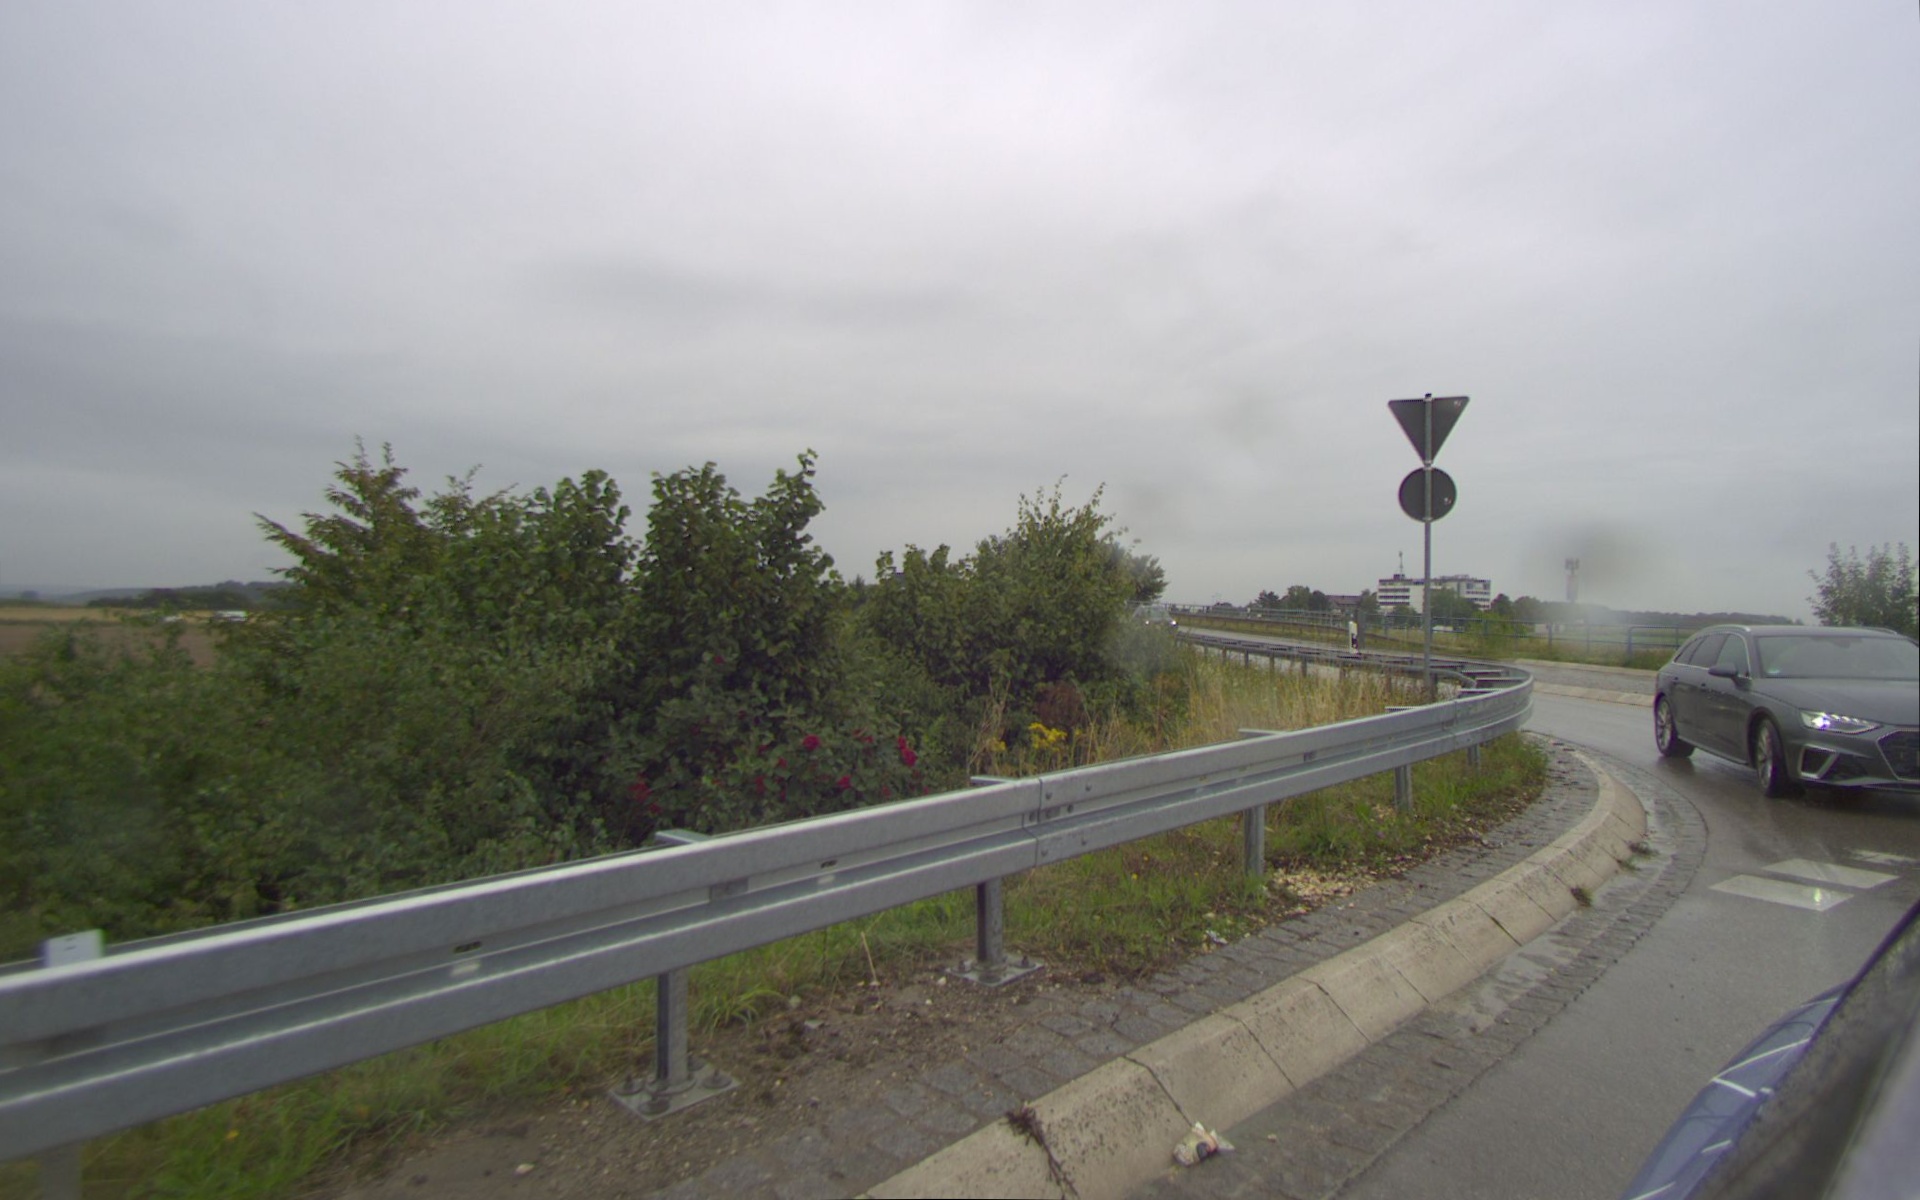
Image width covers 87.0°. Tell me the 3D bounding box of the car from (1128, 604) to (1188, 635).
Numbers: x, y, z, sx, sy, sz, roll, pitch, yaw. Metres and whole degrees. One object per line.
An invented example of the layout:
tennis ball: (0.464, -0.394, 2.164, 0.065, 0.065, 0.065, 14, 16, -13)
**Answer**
car: (9.799, 0.934, 50.502, 1.873, 1.386, 4.567, 1, 1, -3)

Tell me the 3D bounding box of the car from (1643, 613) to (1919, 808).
car: (7.964, 0.817, 9.225, 1.888, 1.387, 4.531, -1, -1, 21)
